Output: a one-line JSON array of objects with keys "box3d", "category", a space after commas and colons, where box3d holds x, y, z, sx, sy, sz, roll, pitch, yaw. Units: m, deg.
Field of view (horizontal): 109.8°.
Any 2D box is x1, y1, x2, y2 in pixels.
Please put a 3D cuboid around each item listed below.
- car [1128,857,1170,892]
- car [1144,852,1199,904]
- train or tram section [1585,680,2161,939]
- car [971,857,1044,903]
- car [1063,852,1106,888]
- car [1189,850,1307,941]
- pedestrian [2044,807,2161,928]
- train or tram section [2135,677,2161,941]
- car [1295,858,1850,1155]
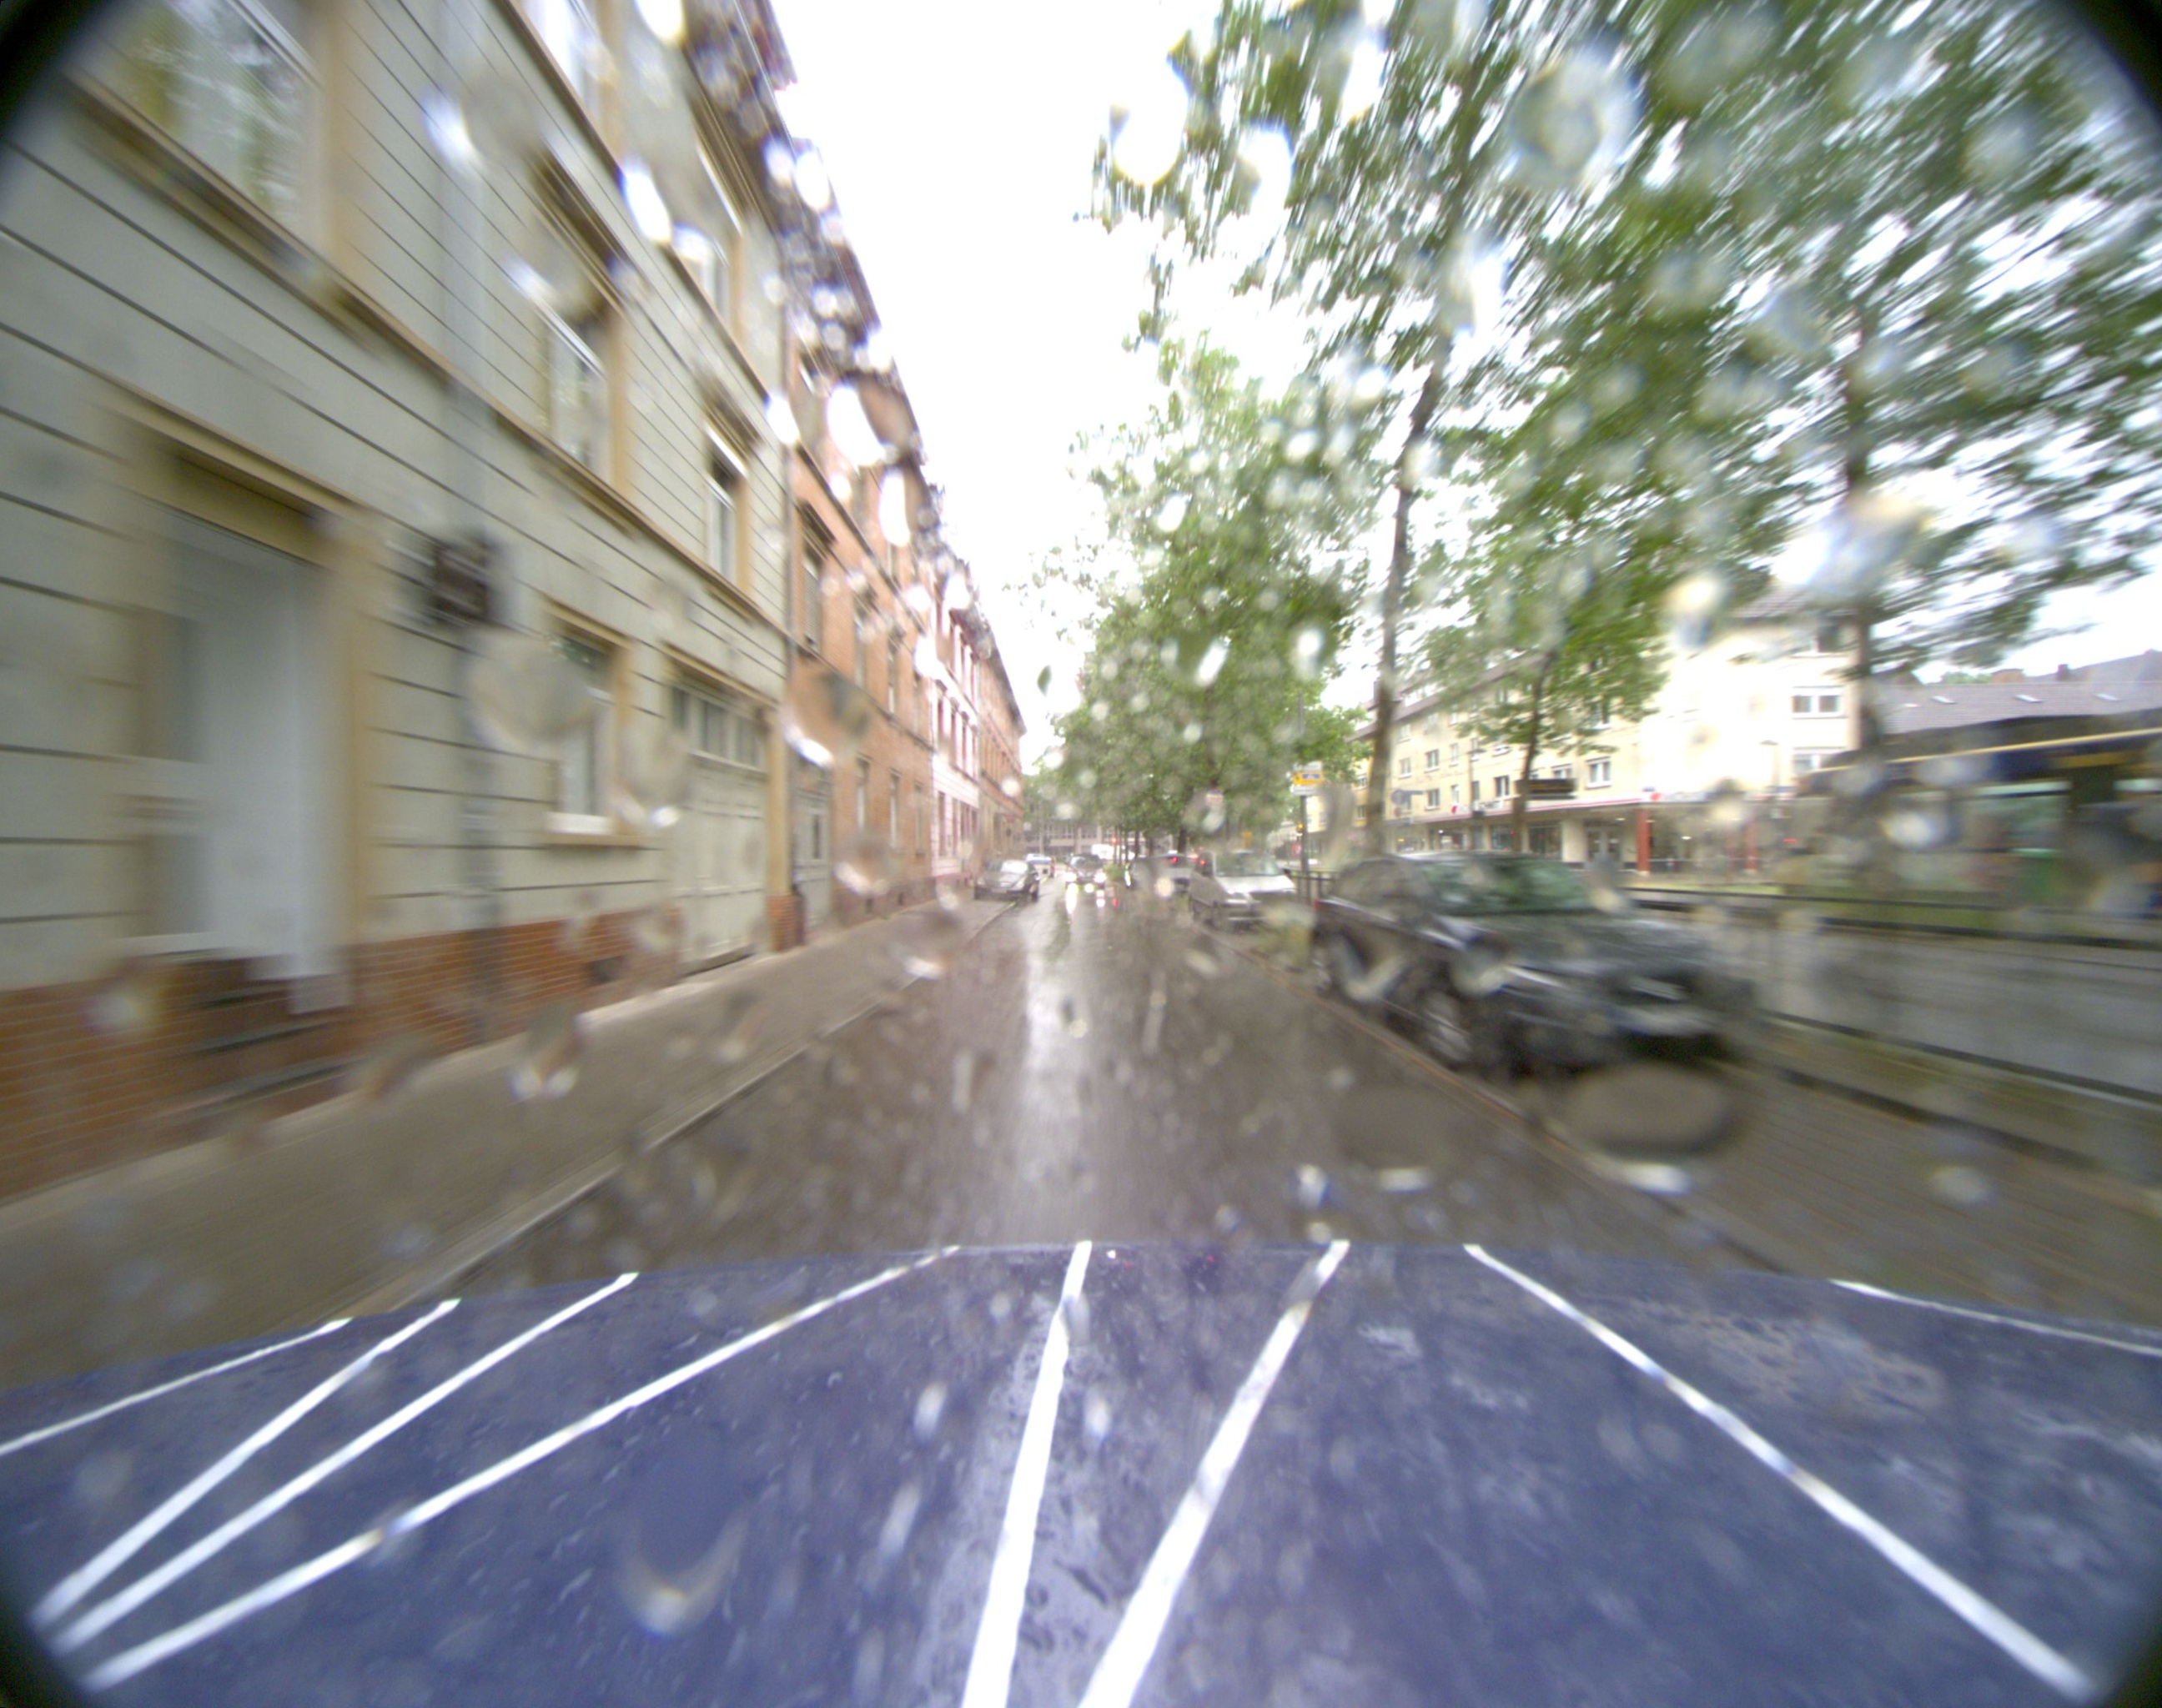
[{"box3d": [2.986, 0.861, 33.844, 1.664, 1.420, 3.422, -2, 0, 2], "category": "car"}, {"box3d": [2.959, 0.745, 25.175, 1.664, 1.567, 3.423, -2, 0, 6], "category": "car"}, {"box3d": [16.227, -0.732, 16.440, 2.907, 3.621, 11.550, -2, 1, 0], "category": "train or tram section"}, {"box3d": [-2.498, 0.853, 26.879, 1.976, 1.359, 4.161, 3, 0, 2], "category": "car"}, {"box3d": [0.228, 0.759, 37.769, 1.976, 1.629, 4.162, -1, 0, 2], "category": "car"}, {"box3d": [3.212, 0.739, 15.202, 1.572, 1.567, 3.327, -2, 0, 0], "category": "car"}, {"box3d": [14.254, 0.171, 10.436, 0.817, 1.585, 0.962, -1, 1, 3], "category": "pedestrian"}, {"box3d": [16.275, -0.605, 4.900, 2.907, 3.621, 11.550, -2, 1, 0], "category": "train or tram section"}, {"box3d": [3.127, 0.803, 5.957, 1.732, 1.473, 4.005, -2, 0, 0], "category": "car"}]
